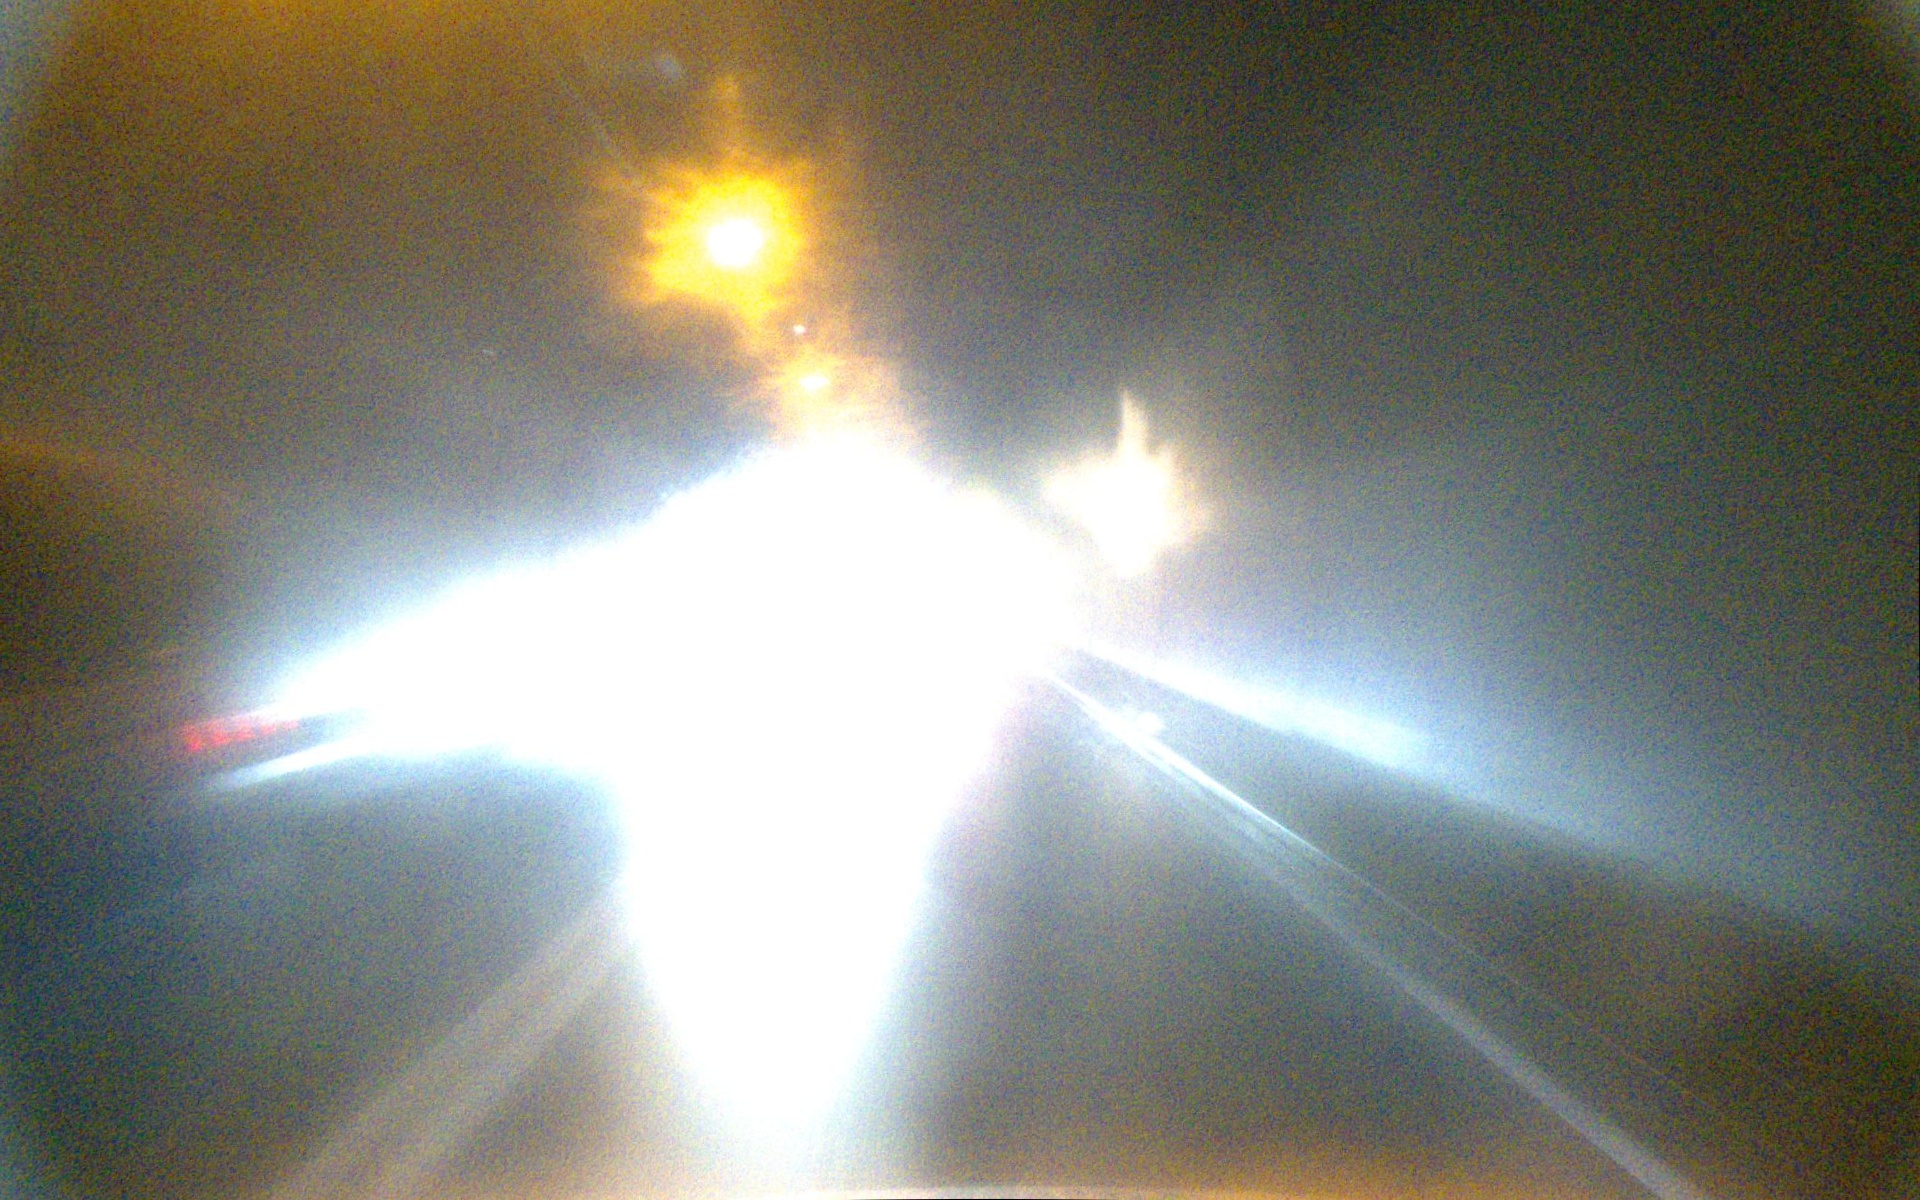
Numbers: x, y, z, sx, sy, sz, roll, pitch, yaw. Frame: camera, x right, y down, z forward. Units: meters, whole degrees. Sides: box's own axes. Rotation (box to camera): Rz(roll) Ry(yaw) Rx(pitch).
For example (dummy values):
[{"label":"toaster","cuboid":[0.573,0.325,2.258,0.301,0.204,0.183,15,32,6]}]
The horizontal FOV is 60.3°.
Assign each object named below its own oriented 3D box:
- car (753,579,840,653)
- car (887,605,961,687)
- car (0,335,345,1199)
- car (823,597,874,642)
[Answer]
[{"label":"car","cuboid":[-3.984,0.377,40.878,1.745,1.705,4.560,0,0,-1]},{"label":"car","cuboid":[-0.820,1.013,38.376,1.602,1.788,4.145,0,0,-1]},{"label":"car","cuboid":[-2.907,0.414,2.973,1.745,1.962,5.137,0,0,-1]},{"label":"car","cuboid":[-4.518,0.778,66.726,1.877,1.758,3.995,0,0,-6]}]
